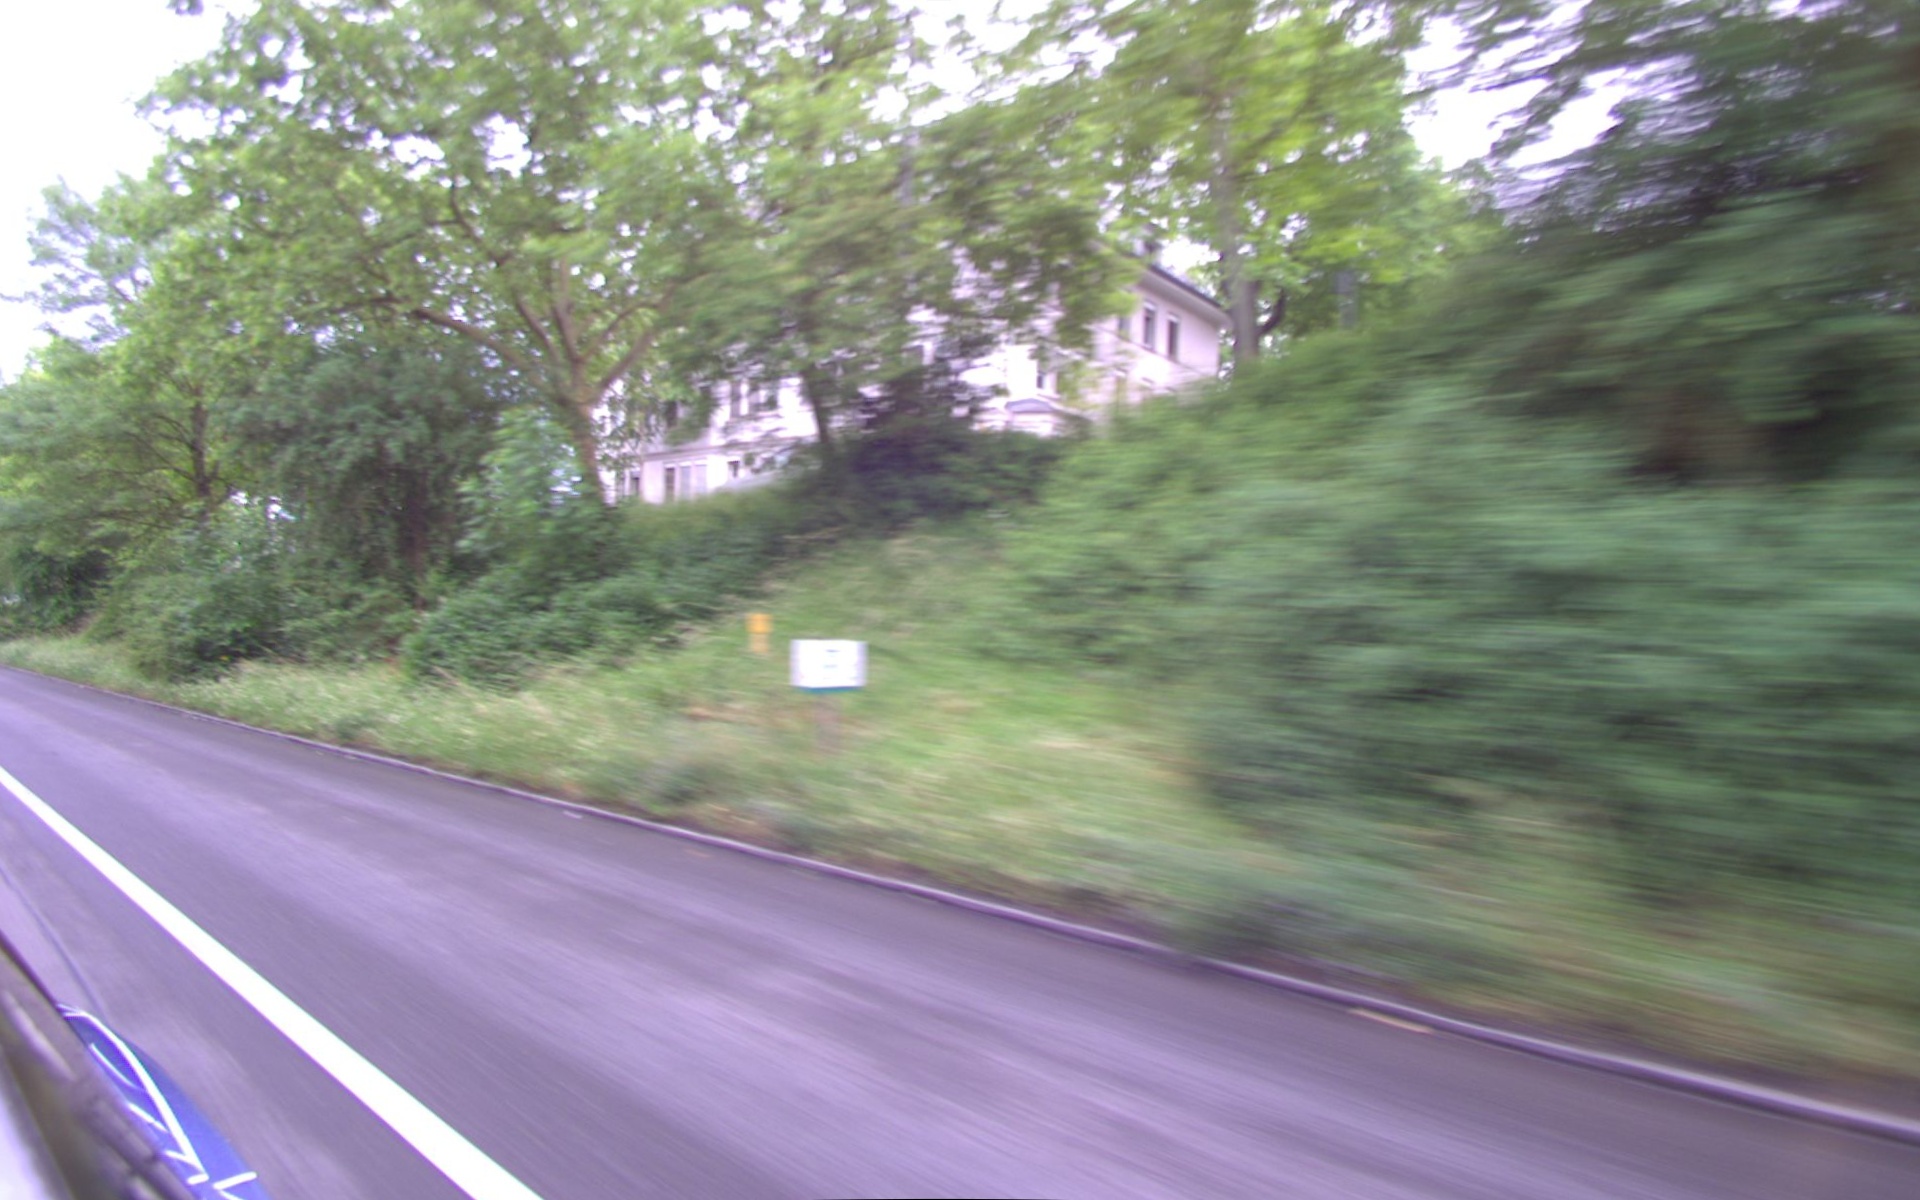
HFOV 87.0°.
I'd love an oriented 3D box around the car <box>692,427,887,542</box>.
[{"bbox_3d":[-3.763,-2.405,22.144,3.992,2.029,1.976,-1,0,36],"label":"car"}]
